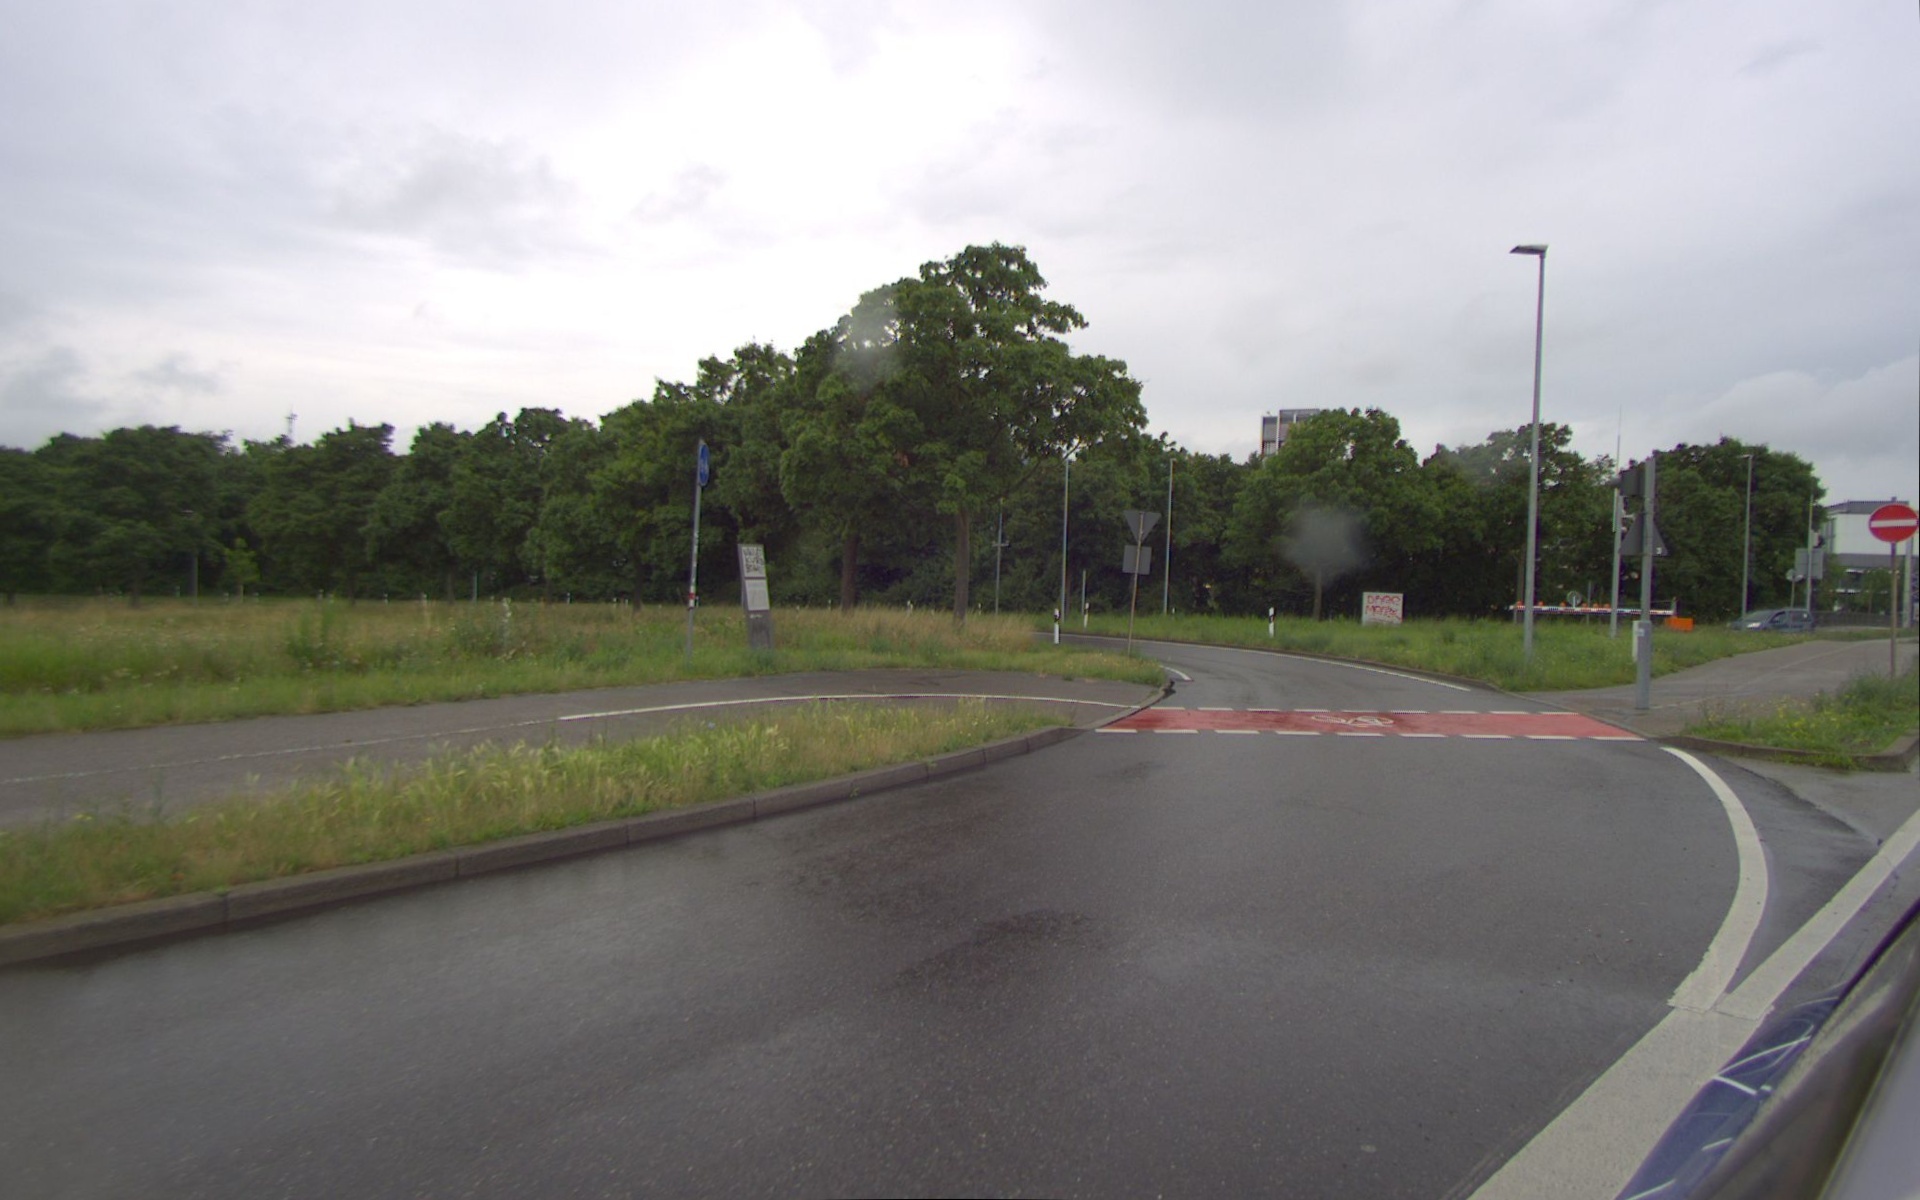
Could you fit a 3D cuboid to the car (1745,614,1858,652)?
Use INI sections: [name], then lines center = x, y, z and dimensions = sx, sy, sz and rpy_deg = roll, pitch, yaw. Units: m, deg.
[car]
center = 42.108, 1.612, 50.654
dimensions = 4.716, 1.773, 1.855
rpy_deg = 0, 0, -13
